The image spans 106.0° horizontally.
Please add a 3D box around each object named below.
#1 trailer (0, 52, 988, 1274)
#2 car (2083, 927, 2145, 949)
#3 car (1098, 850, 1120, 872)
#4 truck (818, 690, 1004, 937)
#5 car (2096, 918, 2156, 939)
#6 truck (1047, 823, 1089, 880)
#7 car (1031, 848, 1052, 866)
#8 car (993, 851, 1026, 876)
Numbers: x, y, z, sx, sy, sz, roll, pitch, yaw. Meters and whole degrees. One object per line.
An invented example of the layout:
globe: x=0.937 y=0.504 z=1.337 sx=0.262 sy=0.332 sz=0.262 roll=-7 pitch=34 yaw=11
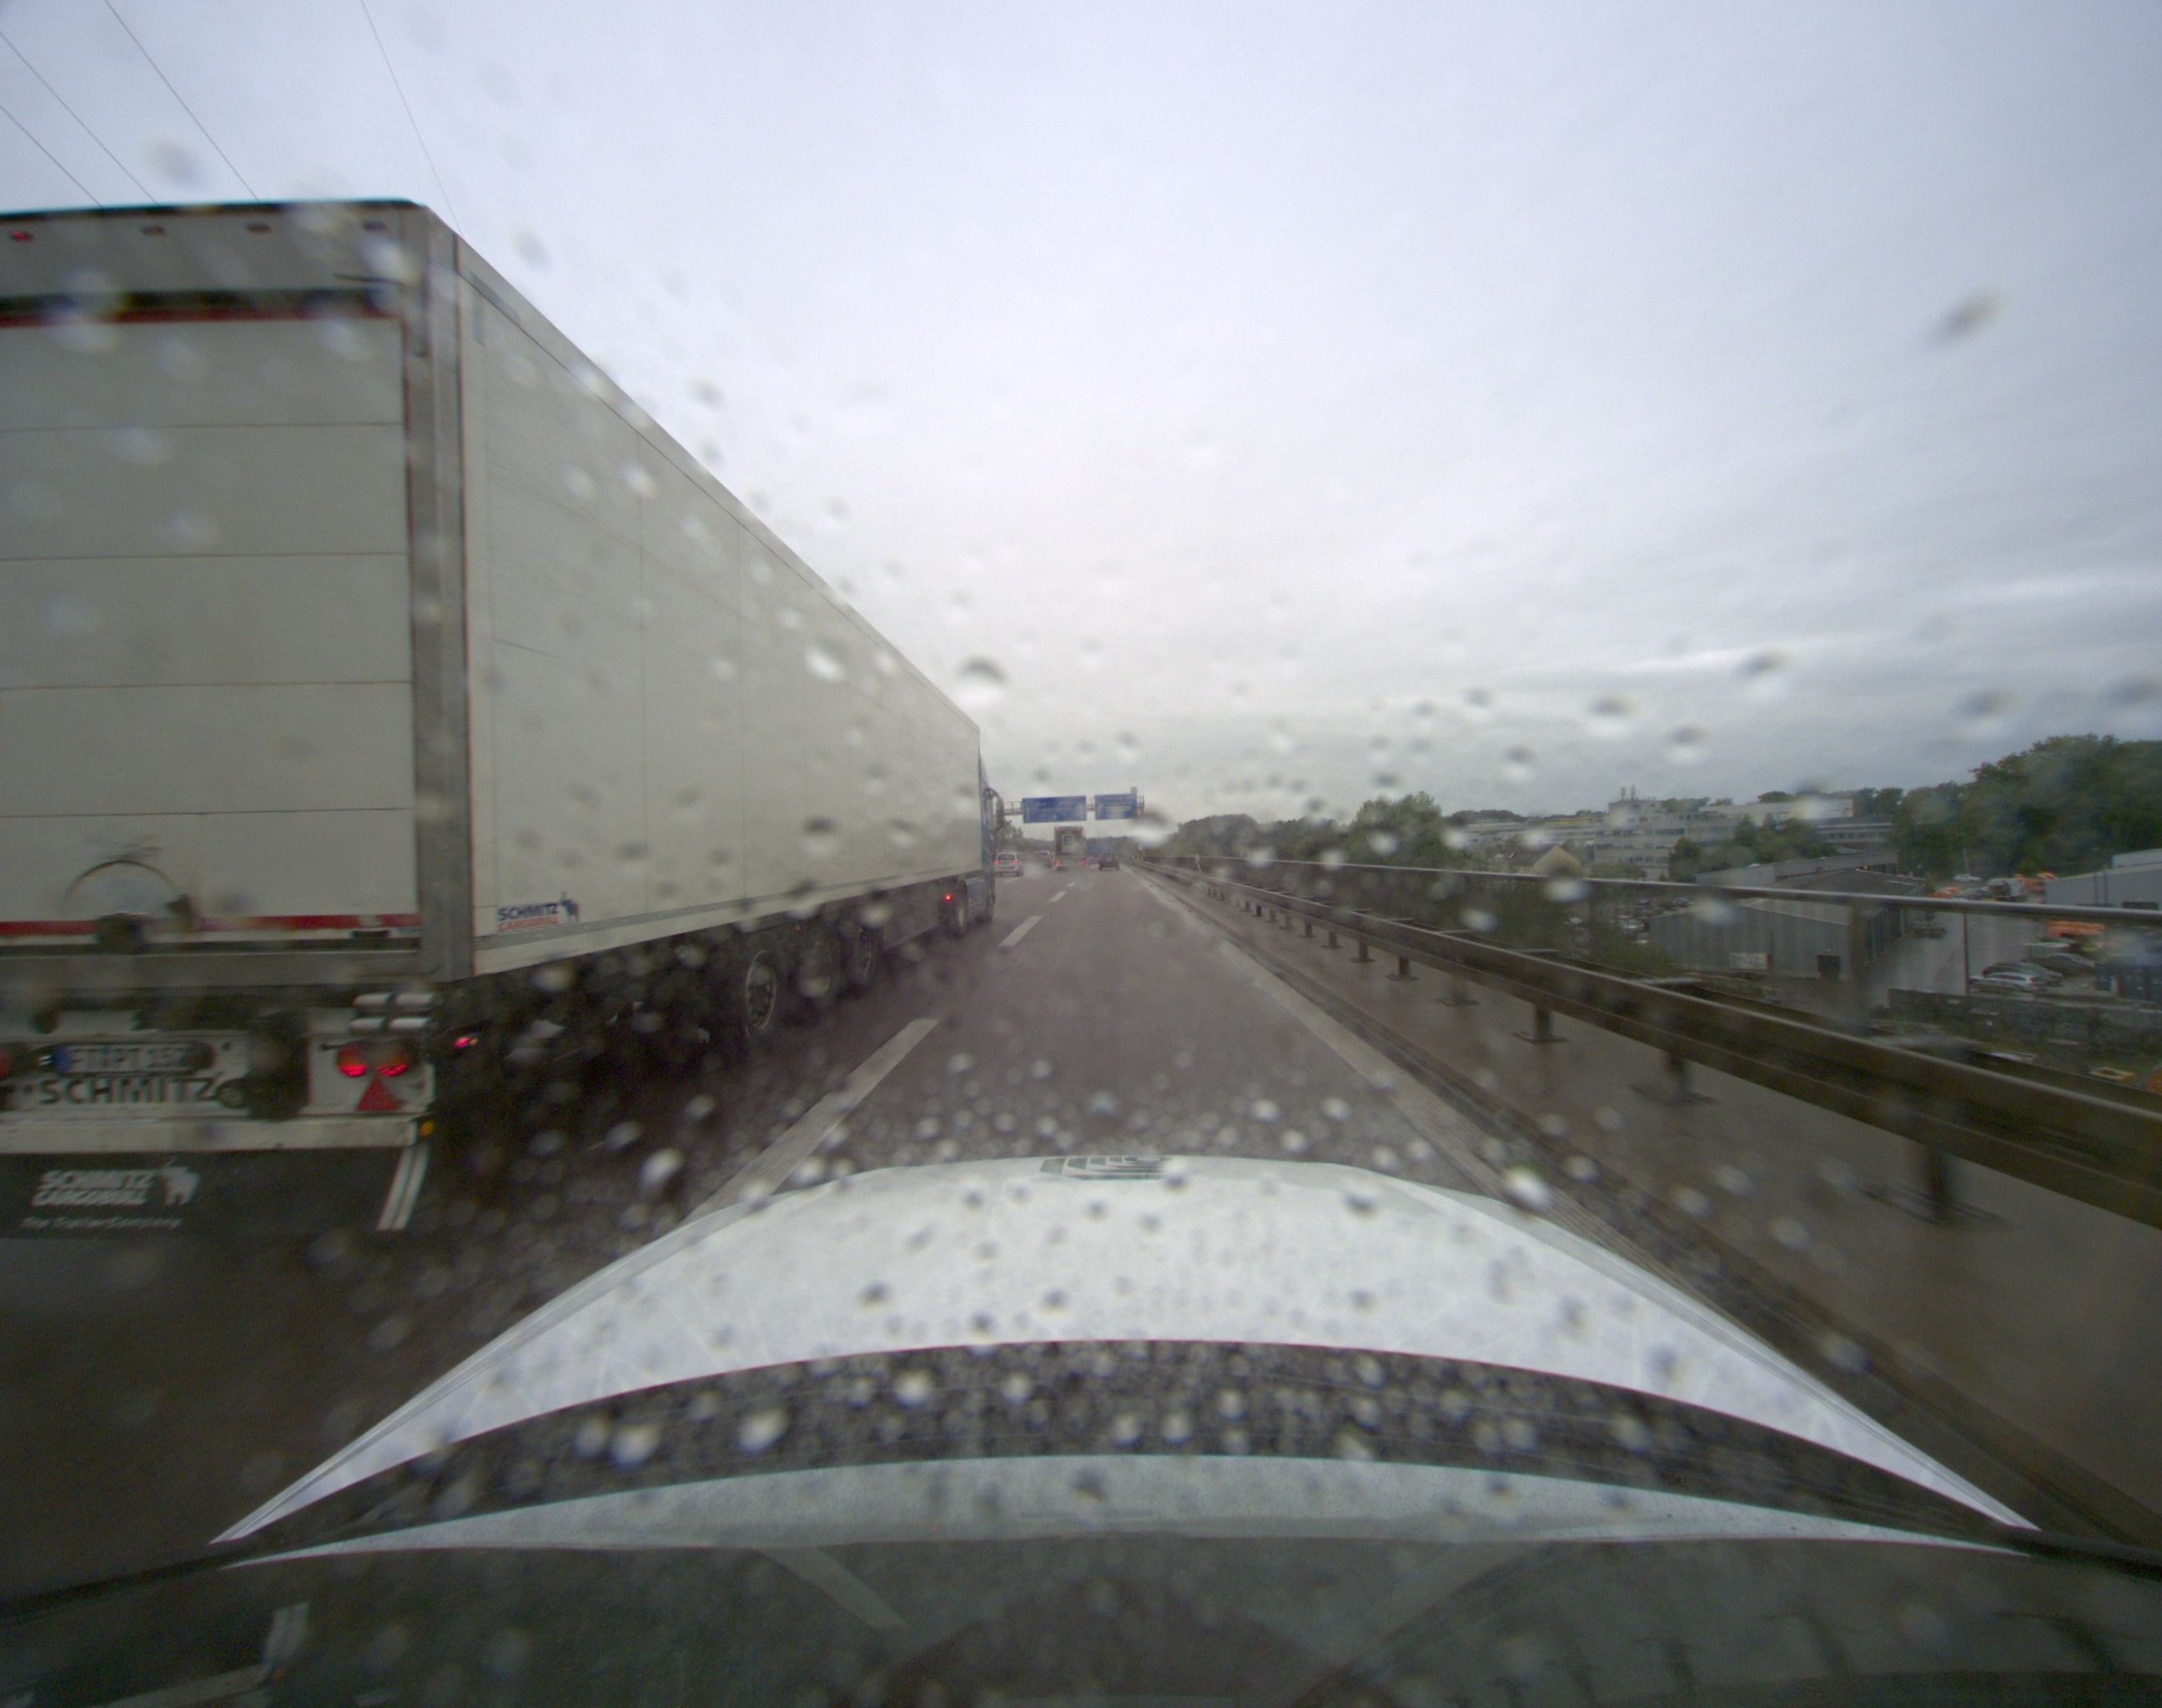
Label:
trailer: x=-3.308 y=-0.671 z=10.184 sx=2.334 sy=4.157 sz=14.829 roll=0 pitch=0 yaw=1
car: x=111.008 y=8.997 z=87.556 sx=2.008 sy=2.014 sz=3.958 roll=0 pitch=-1 yaw=-34
car: x=2.567 y=0.632 z=74.003 sx=1.889 sy=1.949 sz=4.003 roll=0 pitch=-1 yaw=3
truck: x=-3.161 y=-0.690 z=16.884 sx=2.334 sy=4.157 sz=6.349 roll=0 pitch=0 yaw=2
car: x=116.236 y=8.268 z=90.613 sx=2.008 sy=2.014 sz=3.958 roll=0 pitch=-1 yaw=-34
truck: x=-1.140 y=-0.169 z=78.974 sx=3.520 sy=5.183 sz=9.896 roll=0 pitch=-1 yaw=2
car: x=-4.327 y=0.379 z=90.311 sx=2.041 sy=1.949 sz=4.001 roll=0 pitch=-1 yaw=2
car: x=-5.073 y=0.659 z=58.162 sx=1.887 sy=1.724 sz=4.001 roll=0 pitch=-1 yaw=2
